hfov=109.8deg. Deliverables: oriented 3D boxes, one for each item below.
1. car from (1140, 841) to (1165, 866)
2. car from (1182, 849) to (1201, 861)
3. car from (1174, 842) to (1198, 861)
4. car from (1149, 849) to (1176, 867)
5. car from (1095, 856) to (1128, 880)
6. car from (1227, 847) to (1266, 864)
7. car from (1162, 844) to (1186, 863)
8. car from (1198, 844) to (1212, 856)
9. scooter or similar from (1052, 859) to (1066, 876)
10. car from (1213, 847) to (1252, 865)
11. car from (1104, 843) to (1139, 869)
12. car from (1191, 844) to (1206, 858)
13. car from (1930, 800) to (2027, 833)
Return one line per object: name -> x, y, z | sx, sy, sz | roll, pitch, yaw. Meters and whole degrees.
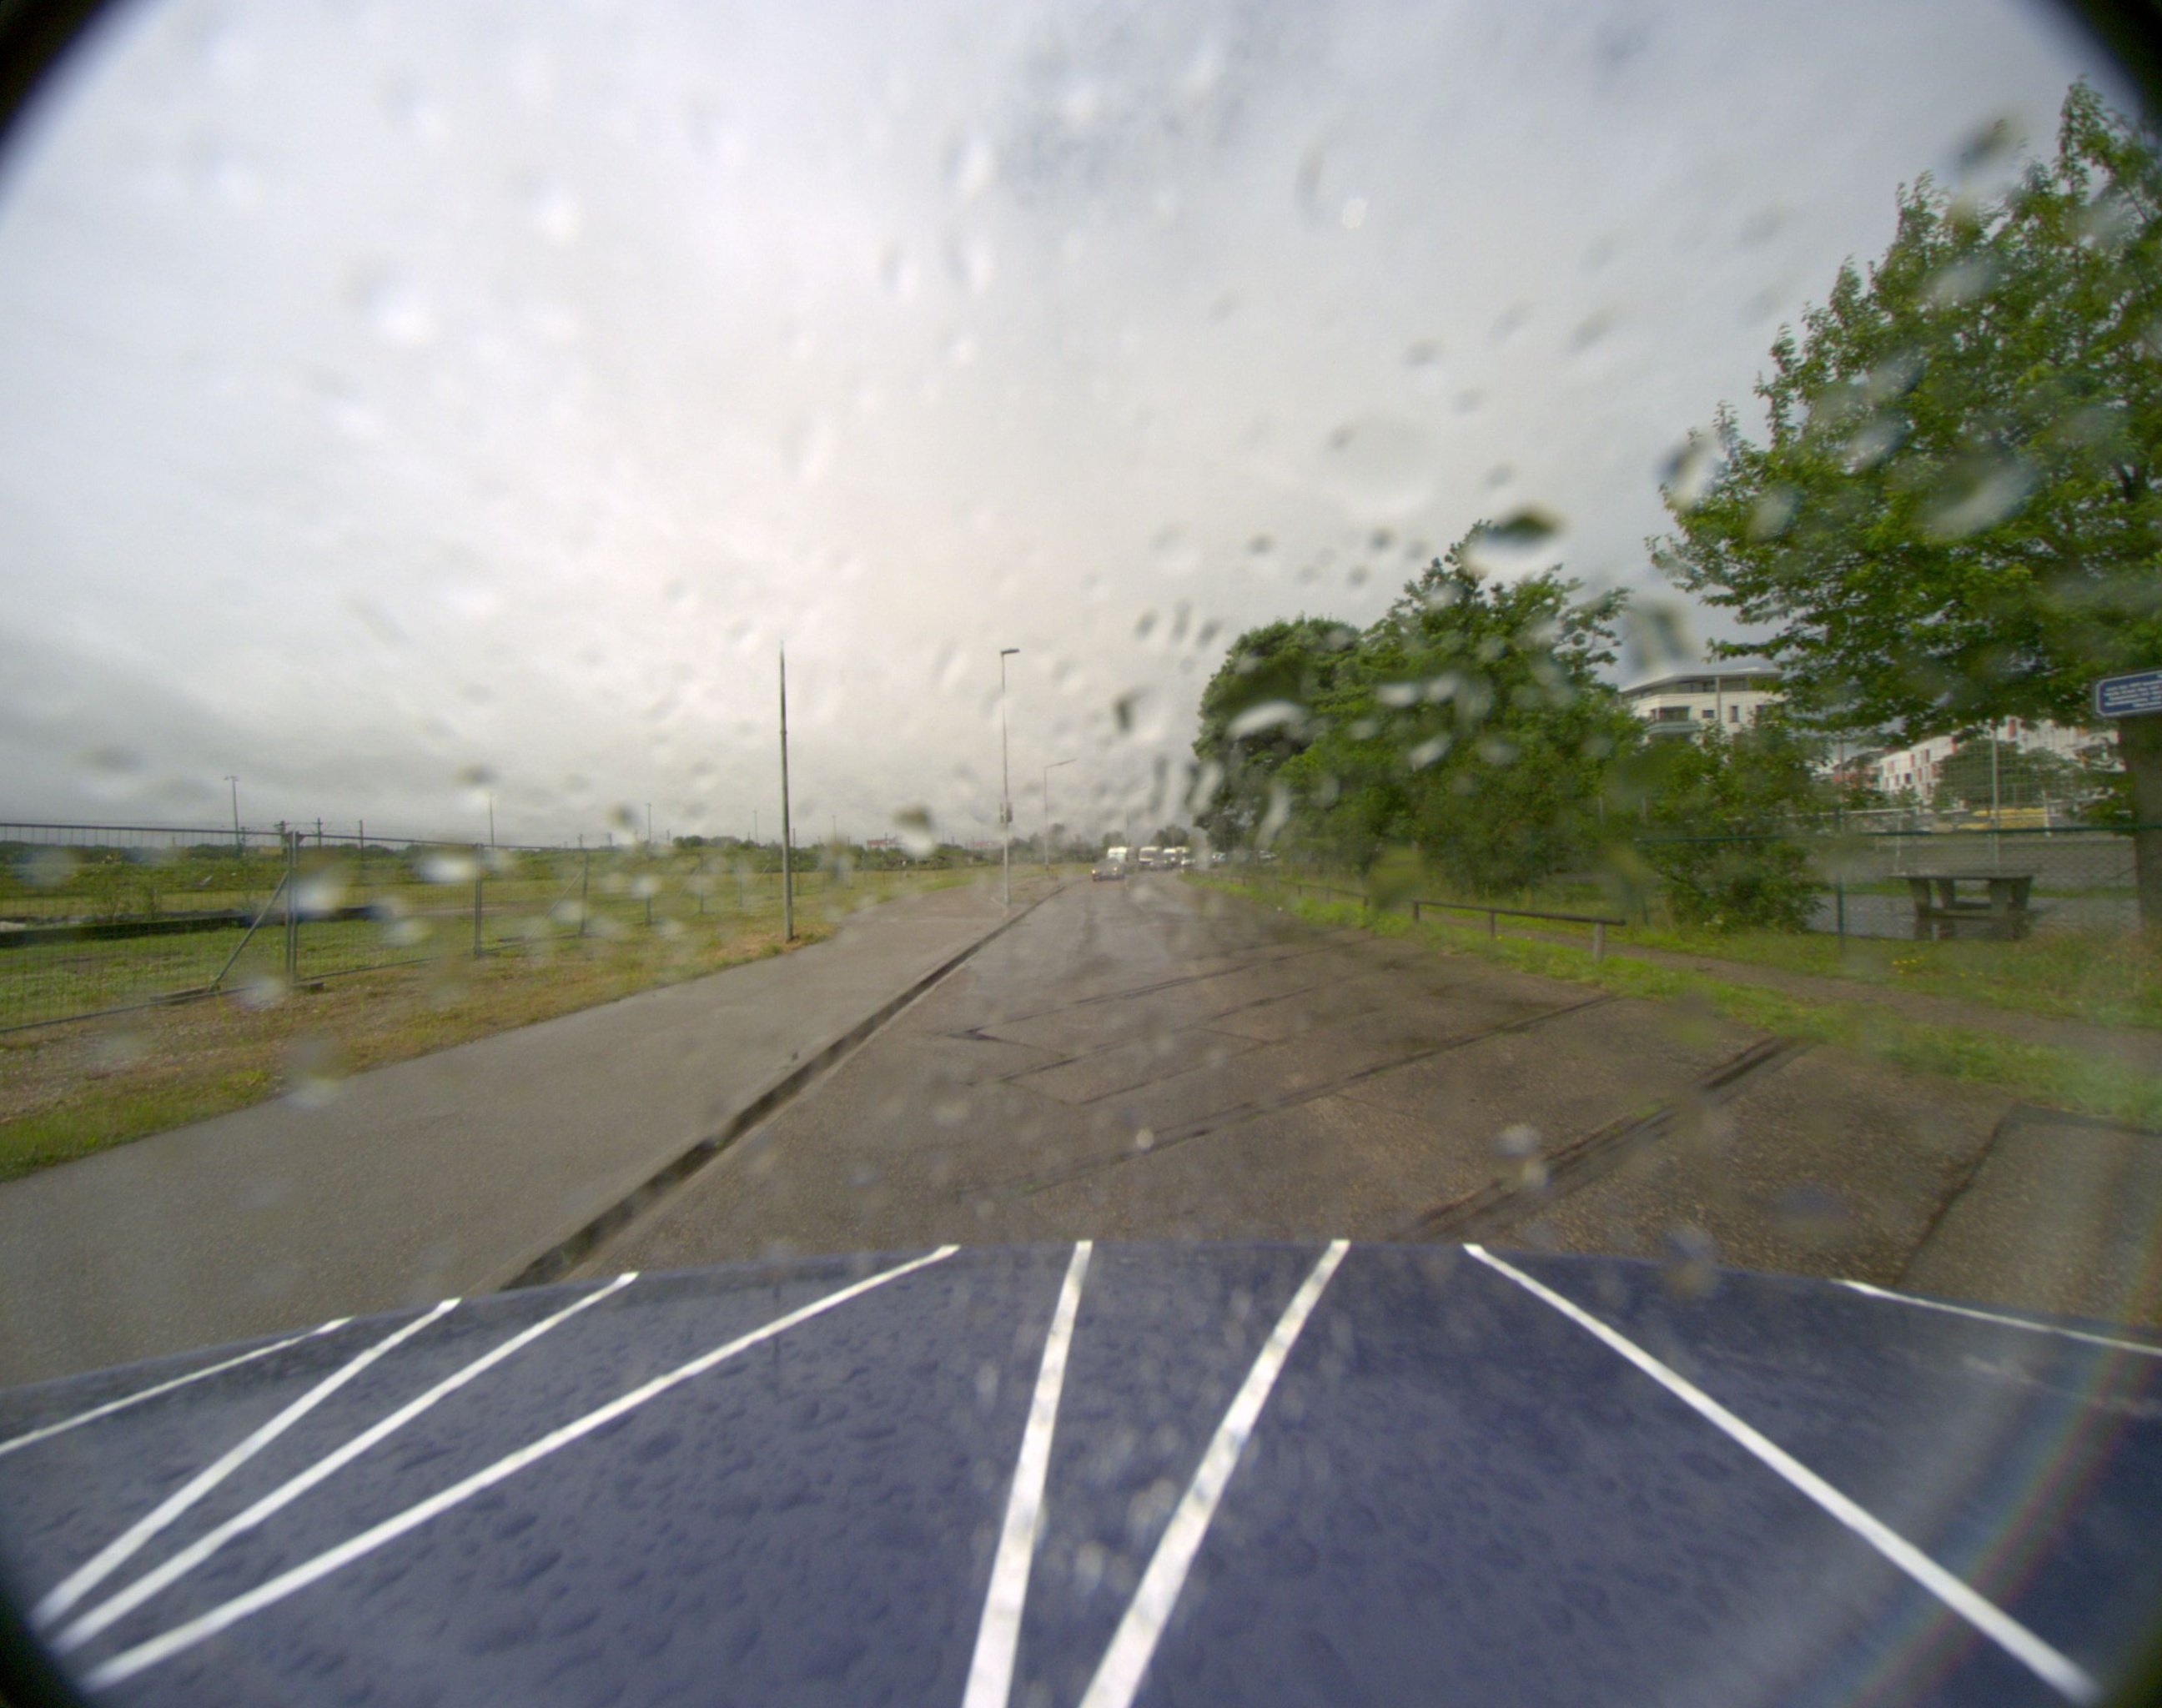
car -> 8.503, -0.135, 90.154 | 2.147, 2.867, 5.281 | 1, 1, 14
car -> 14.605, 0.087, 100.225 | 1.839, 1.510, 4.362 | -2, 0, 16
car -> 16.265, -0.387, 117.326 | 2.473, 2.938, 6.895 | -1, 0, 18
car -> 8.491, 0.380, 78.576 | 2.008, 1.695, 4.334 | -3, 0, 15
car -> 2.111, 0.915, 51.345 | 1.873, 1.510, 4.359 | -2, 0, 6
car -> 18.955, 0.135, 87.177 | 4.179, 1.540, 1.862 | -5, 0, 15
car -> 13.056, -0.076, 106.230 | 2.071, 2.514, 6.666 | 0, 0, 17
car -> 23.676, -0.705, 144.673 | 1.996, 2.228, 4.569 | -2, 0, 16
scooter or similar -> -1.644, 1.005, 56.627 | 0.491, 1.208, 1.342 | -2, 0, 24
car -> 16.452, 0.226, 82.492 | 3.815, 1.623, 1.757 | -5, 0, 18
car -> 4.037, 0.140, 73.841 | 2.094, 2.458, 5.954 | -1, 1, 16
car -> 20.641, -0.546, 133.167 | 1.996, 2.228, 4.569 | -2, 0, 16
car -> 85.881, -3.555, 72.773 | 6.634, 2.599, 1.967 | -4, 1, 3
